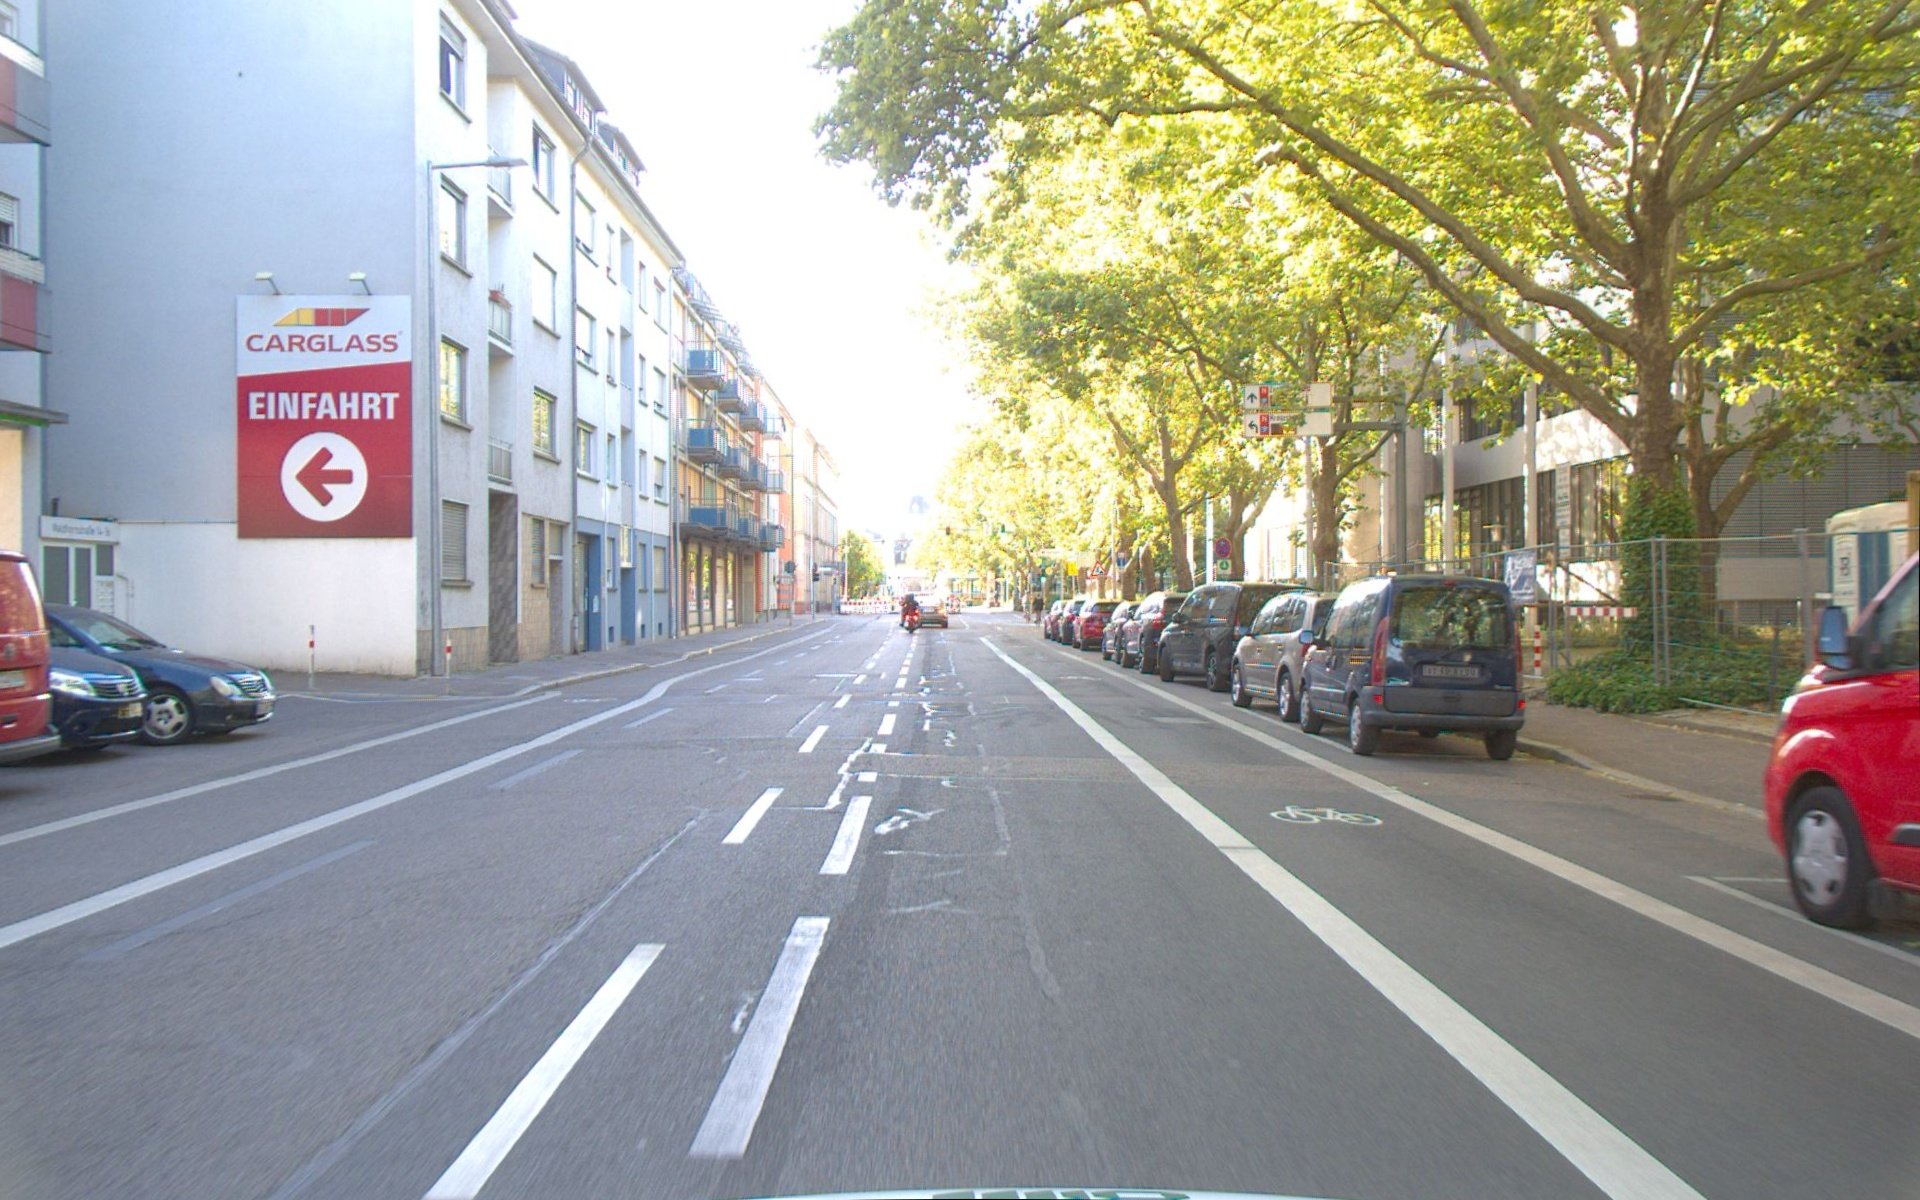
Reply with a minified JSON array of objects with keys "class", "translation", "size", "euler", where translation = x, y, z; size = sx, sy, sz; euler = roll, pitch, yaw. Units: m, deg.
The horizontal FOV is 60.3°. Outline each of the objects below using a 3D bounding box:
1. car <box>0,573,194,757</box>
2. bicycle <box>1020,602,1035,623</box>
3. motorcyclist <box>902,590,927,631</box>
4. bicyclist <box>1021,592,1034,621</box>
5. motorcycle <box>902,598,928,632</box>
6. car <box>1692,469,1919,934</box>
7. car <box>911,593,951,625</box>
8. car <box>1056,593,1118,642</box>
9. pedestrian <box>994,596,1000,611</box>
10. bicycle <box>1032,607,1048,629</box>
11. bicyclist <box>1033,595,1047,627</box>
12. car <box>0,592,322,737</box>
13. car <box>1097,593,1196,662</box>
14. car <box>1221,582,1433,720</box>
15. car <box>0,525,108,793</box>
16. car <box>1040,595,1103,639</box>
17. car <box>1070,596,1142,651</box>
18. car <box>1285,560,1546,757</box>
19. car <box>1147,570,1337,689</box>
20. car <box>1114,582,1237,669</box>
[{"class":"car","translation":[-9.763,0.521,15.636],"size":[4.088,1.591,1.886],"euler":[2,0,-1]},{"class":"bicycle","translation":[3.736,0.680,91.280],"size":[0.643,1.131,2.185],"euler":[1,0,-2]},{"class":"motorcyclist","translation":[-1.832,0.406,66.382],"size":[0.992,1.630,1.405],"euler":[0,0,-2]},{"class":"bicyclist","translation":[3.739,0.360,91.280],"size":[0.643,1.557,0.906],"euler":[1,-1,-2]},{"class":"motorcycle","translation":[-1.807,0.572,66.422],"size":[0.992,1.329,2.671],"euler":[0,0,-2]},{"class":"car","translation":[5.241,0.469,6.659],"size":[2.037,2.029,5.168],"euler":[2,0,-3]},{"class":"car","translation":[-1.380,0.417,77.007],"size":[1.791,1.445,3.813],"euler":[0,0,-2]},{"class":"car","translation":[4.159,0.556,54.557],"size":[1.658,1.492,4.065],"euler":[2,0,0]},{"class":"pedestrian","translation":[3.904,0.338,175.394],"size":[0.580,1.606,0.527],"euler":[1,-1,-1]},{"class":"bicycle","translation":[3.974,0.906,82.562],"size":[0.643,1.089,1.926],"euler":[1,0,-2]},{"class":"bicyclist","translation":[3.985,0.546,82.518],"size":[0.643,1.557,0.851],"euler":[1,-1,-2]},{"class":"car","translation":[-9.415,0.652,17.948],"size":[4.143,1.404,2.045],"euler":[2,0,-1]},{"class":"car","translation":[4.424,0.621,39.775],"size":[1.659,1.530,4.017],"euler":[2,0,-3]},{"class":"car","translation":[4.868,0.624,22.533],"size":[1.659,1.656,4.327],"euler":[2,0,-3]},{"class":"car","translation":[-9.247,0.349,12.577],"size":[4.331,1.985,2.146],"euler":[2,0,-1]},{"class":"car","translation":[3.980,0.575,59.539],"size":[1.659,1.475,4.433],"euler":[2,0,-3]},{"class":"car","translation":[4.286,0.658,49.061],"size":[1.658,1.505,4.317],"euler":[2,0,-1]},{"class":"car","translation":[4.792,0.556,17.990],"size":[1.658,1.844,4.130],"euler":[2,0,0]},{"class":"car","translation":[4.867,0.472,29.285],"size":[1.791,1.873,4.889],"euler":[2,0,-9]},{"class":"car","translation":[4.450,0.494,34.735],"size":[1.740,1.656,4.618],"euler":[2,0,-3]}]
